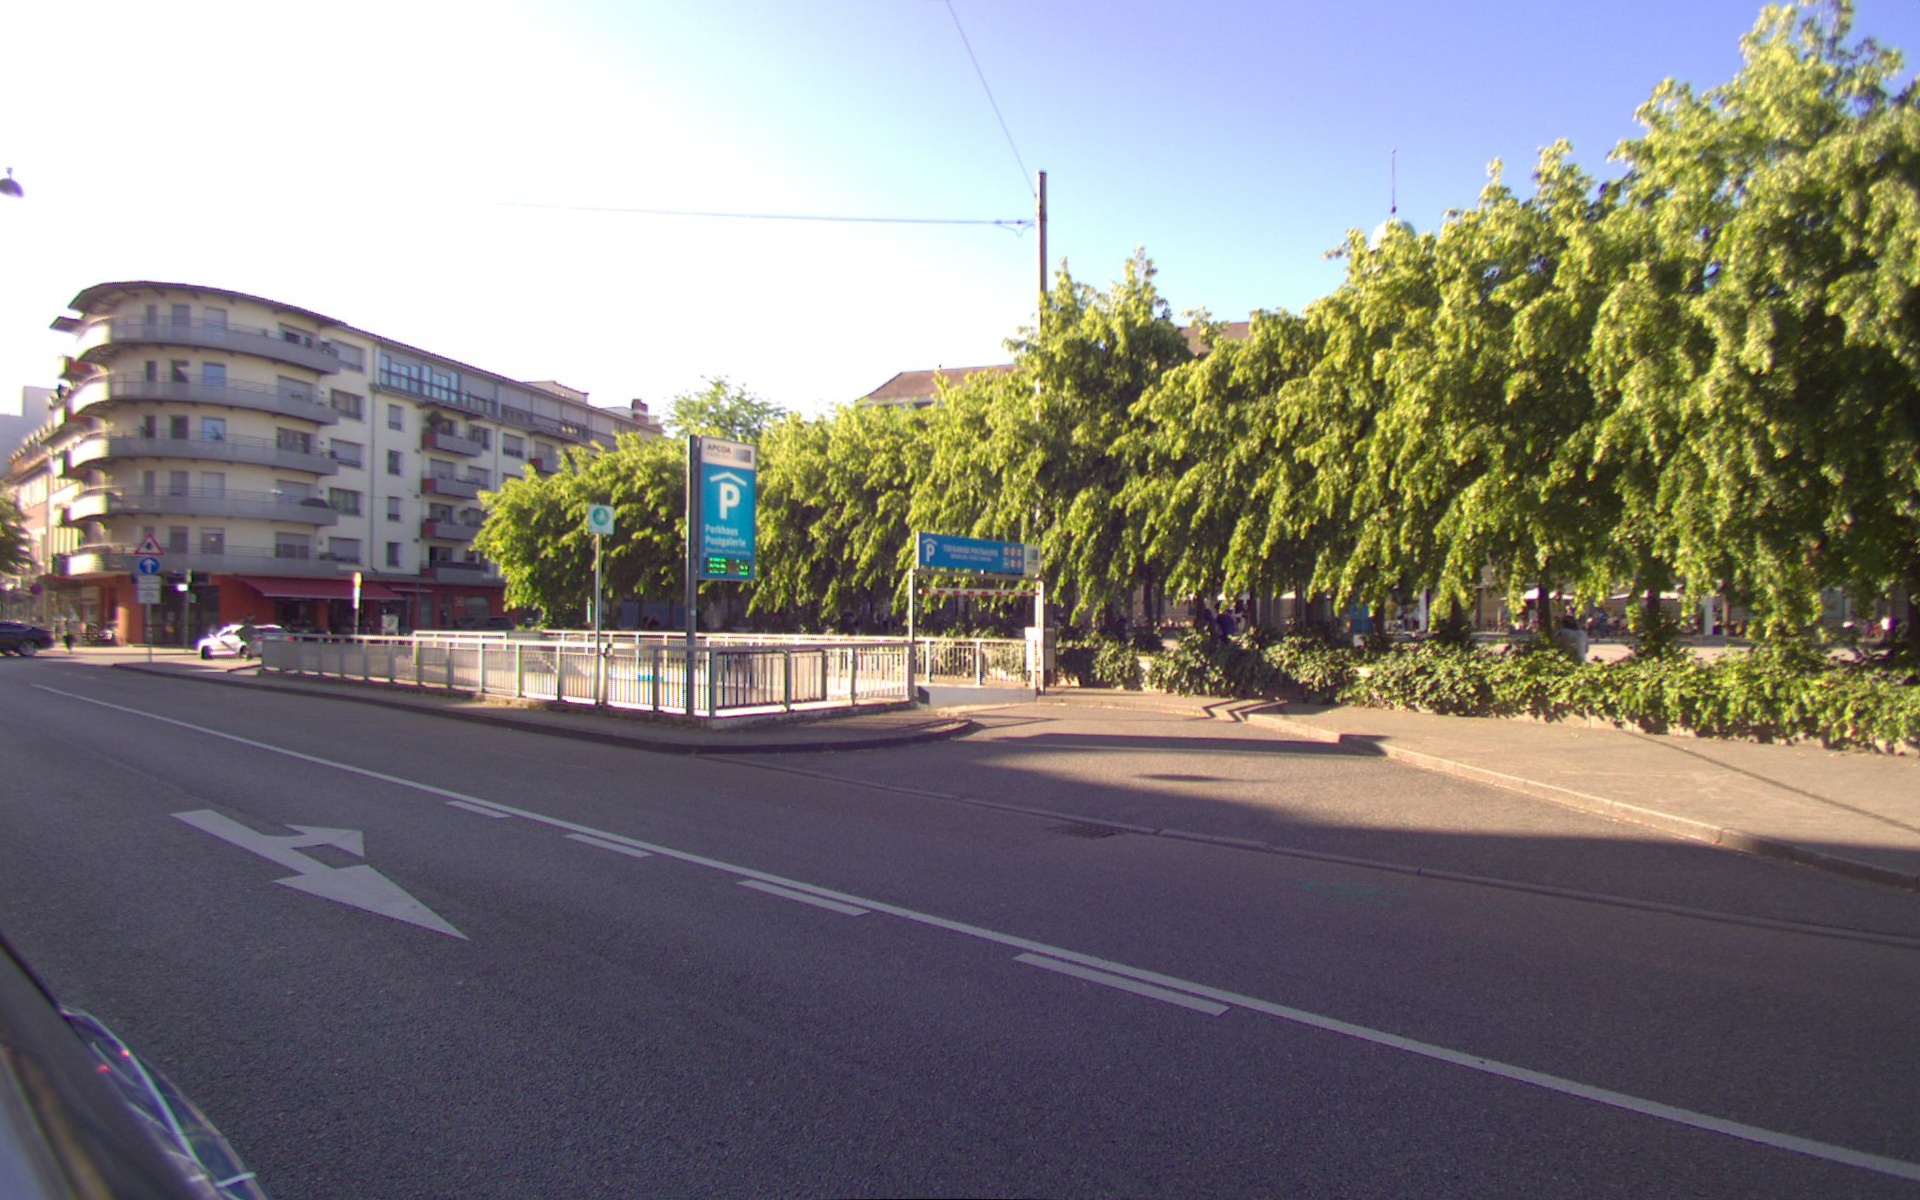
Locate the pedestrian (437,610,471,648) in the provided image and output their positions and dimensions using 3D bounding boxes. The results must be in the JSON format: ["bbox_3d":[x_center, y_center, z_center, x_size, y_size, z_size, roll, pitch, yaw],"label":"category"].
[{"bbox_3d":[-27.463,1.565,54.924,1.296,2.029,1.300,-1,-1,45],"label":"pedestrian"}]

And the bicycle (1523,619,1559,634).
[{"bbox_3d":[37.621,1.726,65.508,1.886,0.961,0.587,-1,-1,11],"label":"bicycle"}]

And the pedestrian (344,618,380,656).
[{"bbox_3d":[-32.841,2.019,55.591,1.251,2.029,1.226,-1,-1,19],"label":"pedestrian"}]

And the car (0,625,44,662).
[{"bbox_3d":[-37.739,1.665,38.250,1.992,1.394,4.246,-1,-1,29],"label":"car"}]

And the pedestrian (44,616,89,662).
[{"bbox_3d":[-40.773,1.769,46.201,1.008,2.029,1.198,-1,0,4],"label":"pedestrian"}]

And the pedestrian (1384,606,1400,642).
[{"bbox_3d":[24.253,1.344,56.832,0.751,1.948,0.938,-1,-1,20],"label":"pedestrian"}]

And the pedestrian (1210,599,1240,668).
[{"bbox_3d":[6.608,0.837,25.295,0.672,1.683,0.843,-1,-1,13],"label":"pedestrian"}]

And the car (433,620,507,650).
[{"bbox_3d":[-30.545,2.148,63.211,1.983,1.763,3.977,-1,-1,17],"label":"car"}]

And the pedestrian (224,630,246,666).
[{"bbox_3d":[-35.159,2.325,49.109,0.697,1.719,0.667,-1,-1,33],"label":"pedestrian"}]

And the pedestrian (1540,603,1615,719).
[{"bbox_3d":[9.753,0.935,15.988,0.885,1.771,0.738,0,-1,-39],"label":"pedestrian"}]

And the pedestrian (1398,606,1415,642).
[{"bbox_3d":[24.953,1.335,56.601,0.751,1.948,0.938,-1,-1,20],"label":"pedestrian"}]

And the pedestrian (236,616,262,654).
[{"bbox_3d":[-35.021,1.715,49.830,0.746,1.819,0.755,-1,-1,-1],"label":"pedestrian"}]

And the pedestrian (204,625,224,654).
[{"bbox_3d":[-37.756,2.001,51.208,0.780,1.472,0.583,0,-1,-40],"label":"pedestrian"}]

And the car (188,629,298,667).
[{"bbox_3d":[-28.647,1.893,40.425,4.228,1.445,1.788,-1,-1,26],"label":"car"}]
